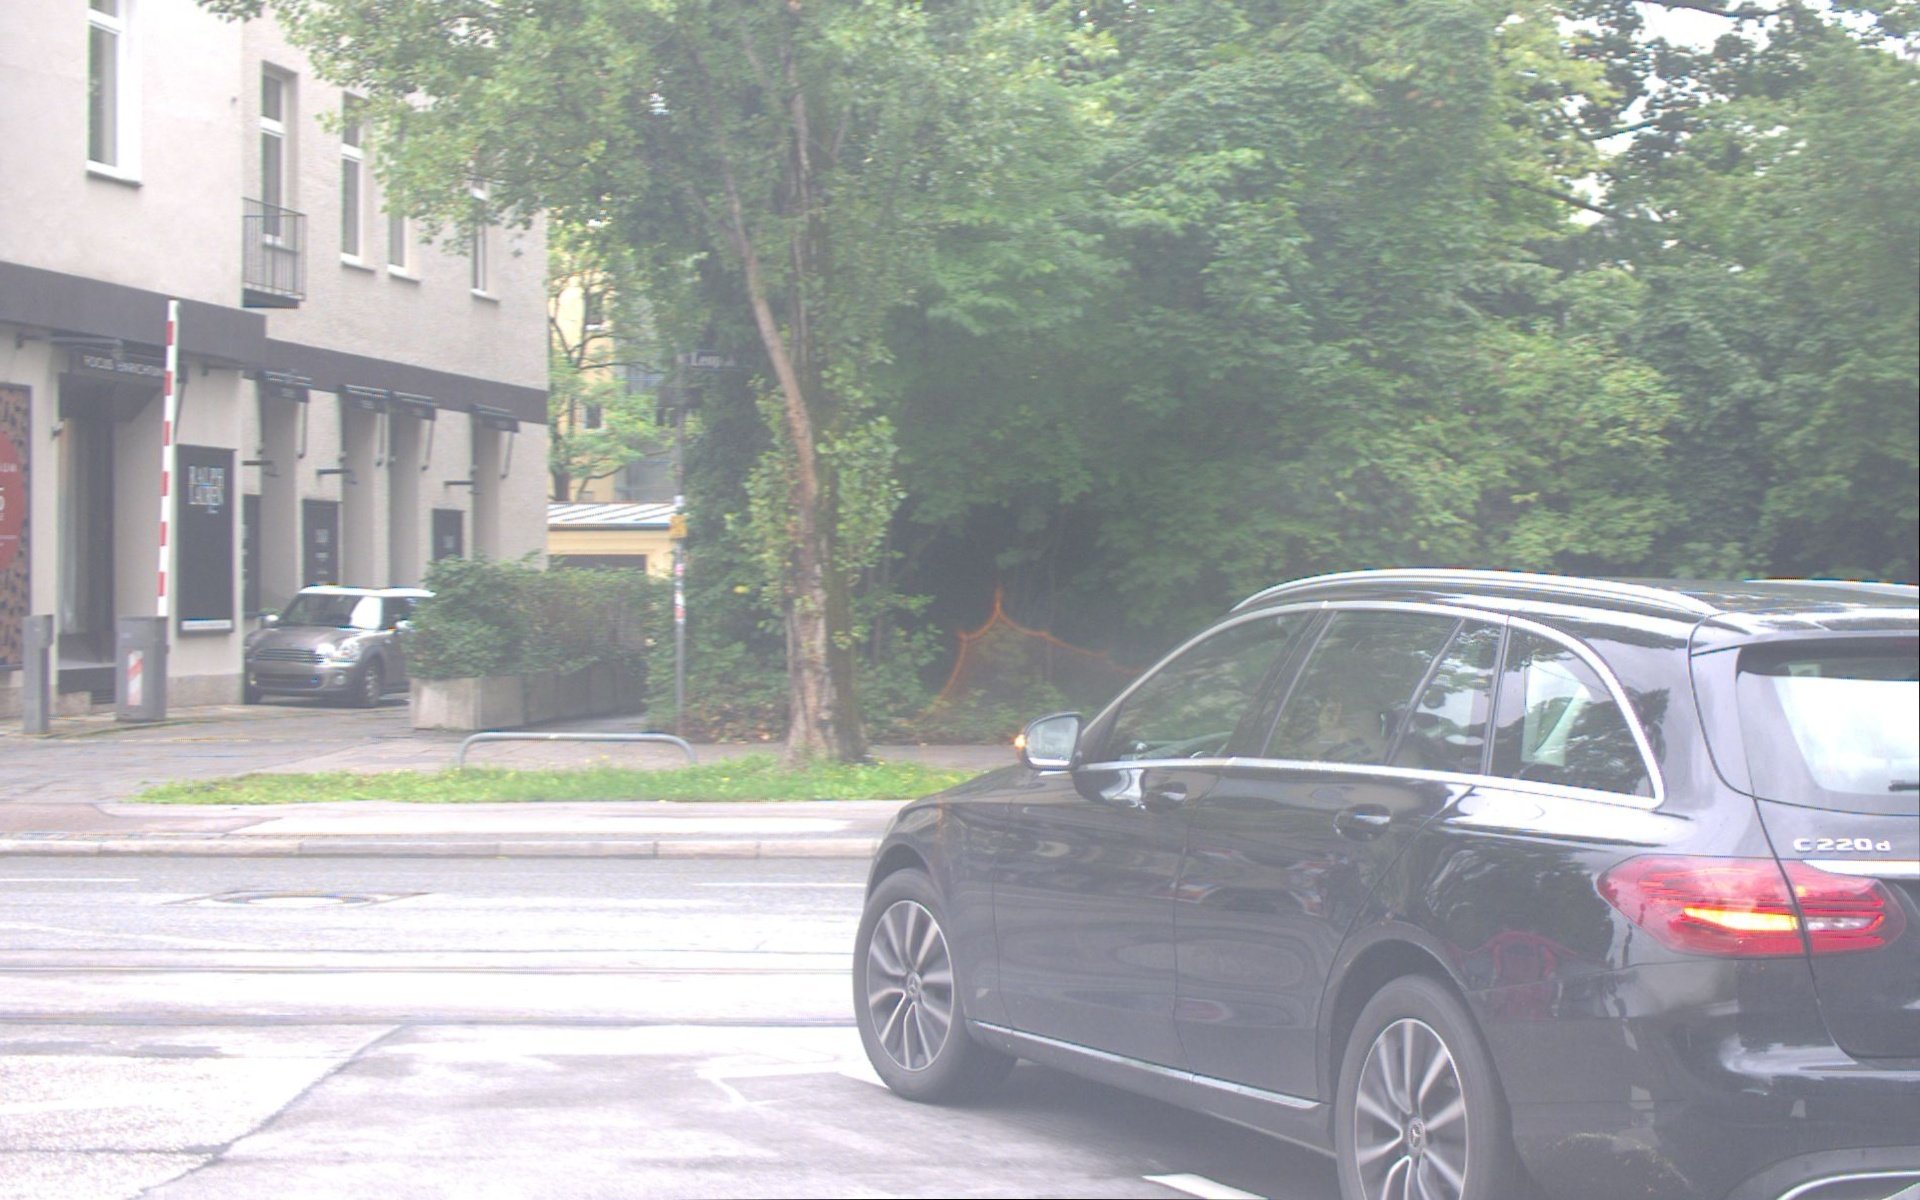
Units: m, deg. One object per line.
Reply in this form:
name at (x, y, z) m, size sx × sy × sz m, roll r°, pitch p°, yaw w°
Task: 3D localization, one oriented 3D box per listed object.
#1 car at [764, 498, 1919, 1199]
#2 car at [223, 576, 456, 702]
car at (1.152, 0.561, 8.333) m, size 1.863 × 1.544 × 4.705 m, roll 0°, pitch 1°, yaw -21°
car at (-7.437, 0.435, 41.561) m, size 1.726 × 1.437 × 3.999 m, roll 0°, pitch 1°, yaw 6°
